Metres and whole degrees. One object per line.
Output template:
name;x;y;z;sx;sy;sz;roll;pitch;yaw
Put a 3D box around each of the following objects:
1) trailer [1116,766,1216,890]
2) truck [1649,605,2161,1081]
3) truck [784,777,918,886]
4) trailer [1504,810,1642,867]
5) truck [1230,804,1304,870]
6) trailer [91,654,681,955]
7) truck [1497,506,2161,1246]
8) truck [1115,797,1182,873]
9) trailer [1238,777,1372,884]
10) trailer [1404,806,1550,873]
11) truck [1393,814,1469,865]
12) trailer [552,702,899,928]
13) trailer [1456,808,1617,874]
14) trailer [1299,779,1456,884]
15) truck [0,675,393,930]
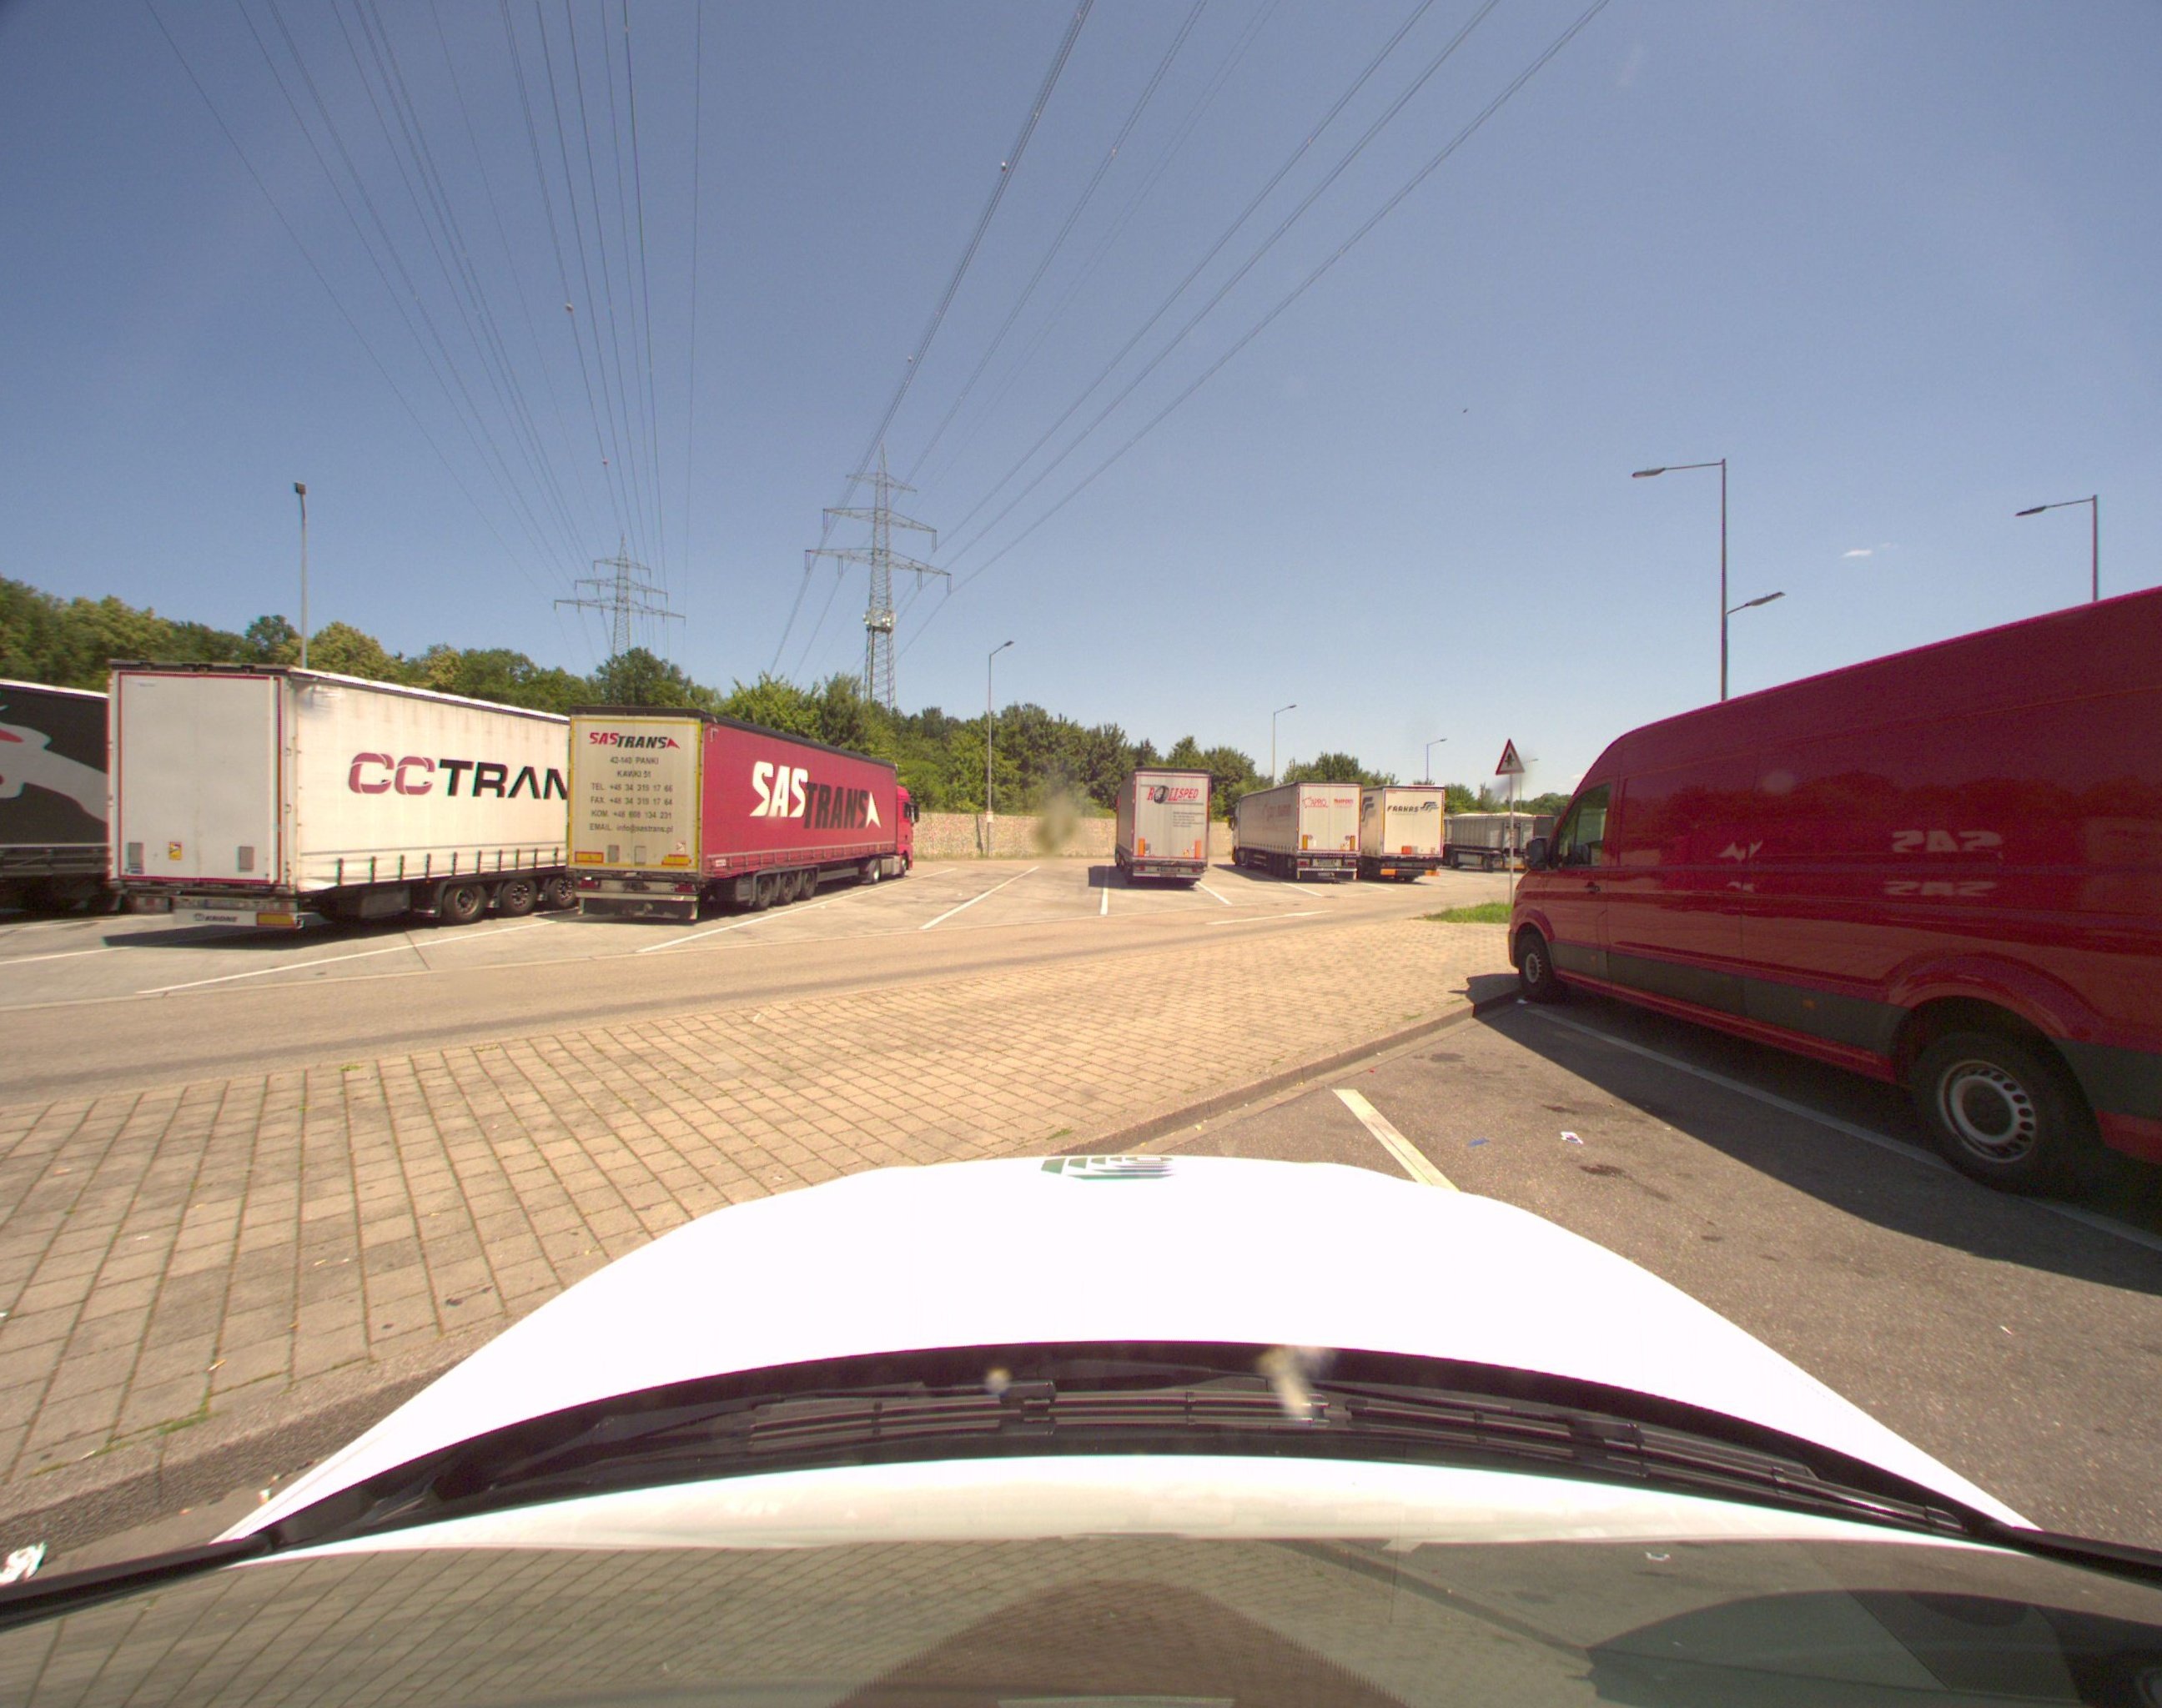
trailer;3.050;-1.051;33.238;2.848;3.971;13.767;1;2;1
truck;8.011;-0.076;6.916;2.406;2.906;6.466;-1;0;6
truck;-7.829;-0.794;28.569;2.801;3.362;5.977;1;2;2
trailer;38.215;-1.305;64.219;2.847;3.904;13.770;1;2;2
truck;10.177;-0.981;45.094;2.855;3.362;5.977;1;2;2
trailer;-12.155;-0.841;16.447;2.696;4.101;10.395;1;2;2
truck;5.152;0.076;5.482;2.001;2.651;6.466;-1;0;6
truck;3.139;-0.941;39.440;2.855;3.362;5.977;1;2;2
trailer;9.981;-1.123;38.330;2.847;4.109;13.770;1;2;2
trailer;24.438;-1.000;51.533;2.847;3.599;13.770;1;2;2
truck;24.622;-1.088;57.630;2.855;3.362;5.977;1;2;2
trailer;-8.042;-0.927;21.752;2.811;4.070;13.770;1;2;2
trailer;28.416;-0.933;52.045;2.847;3.599;13.770;1;2;2
trailer;13.609;-1.099;39.256;2.847;4.109;13.770;1;2;2
truck;-18.543;-0.936;15.853;2.696;4.070;8.694;1;2;2
